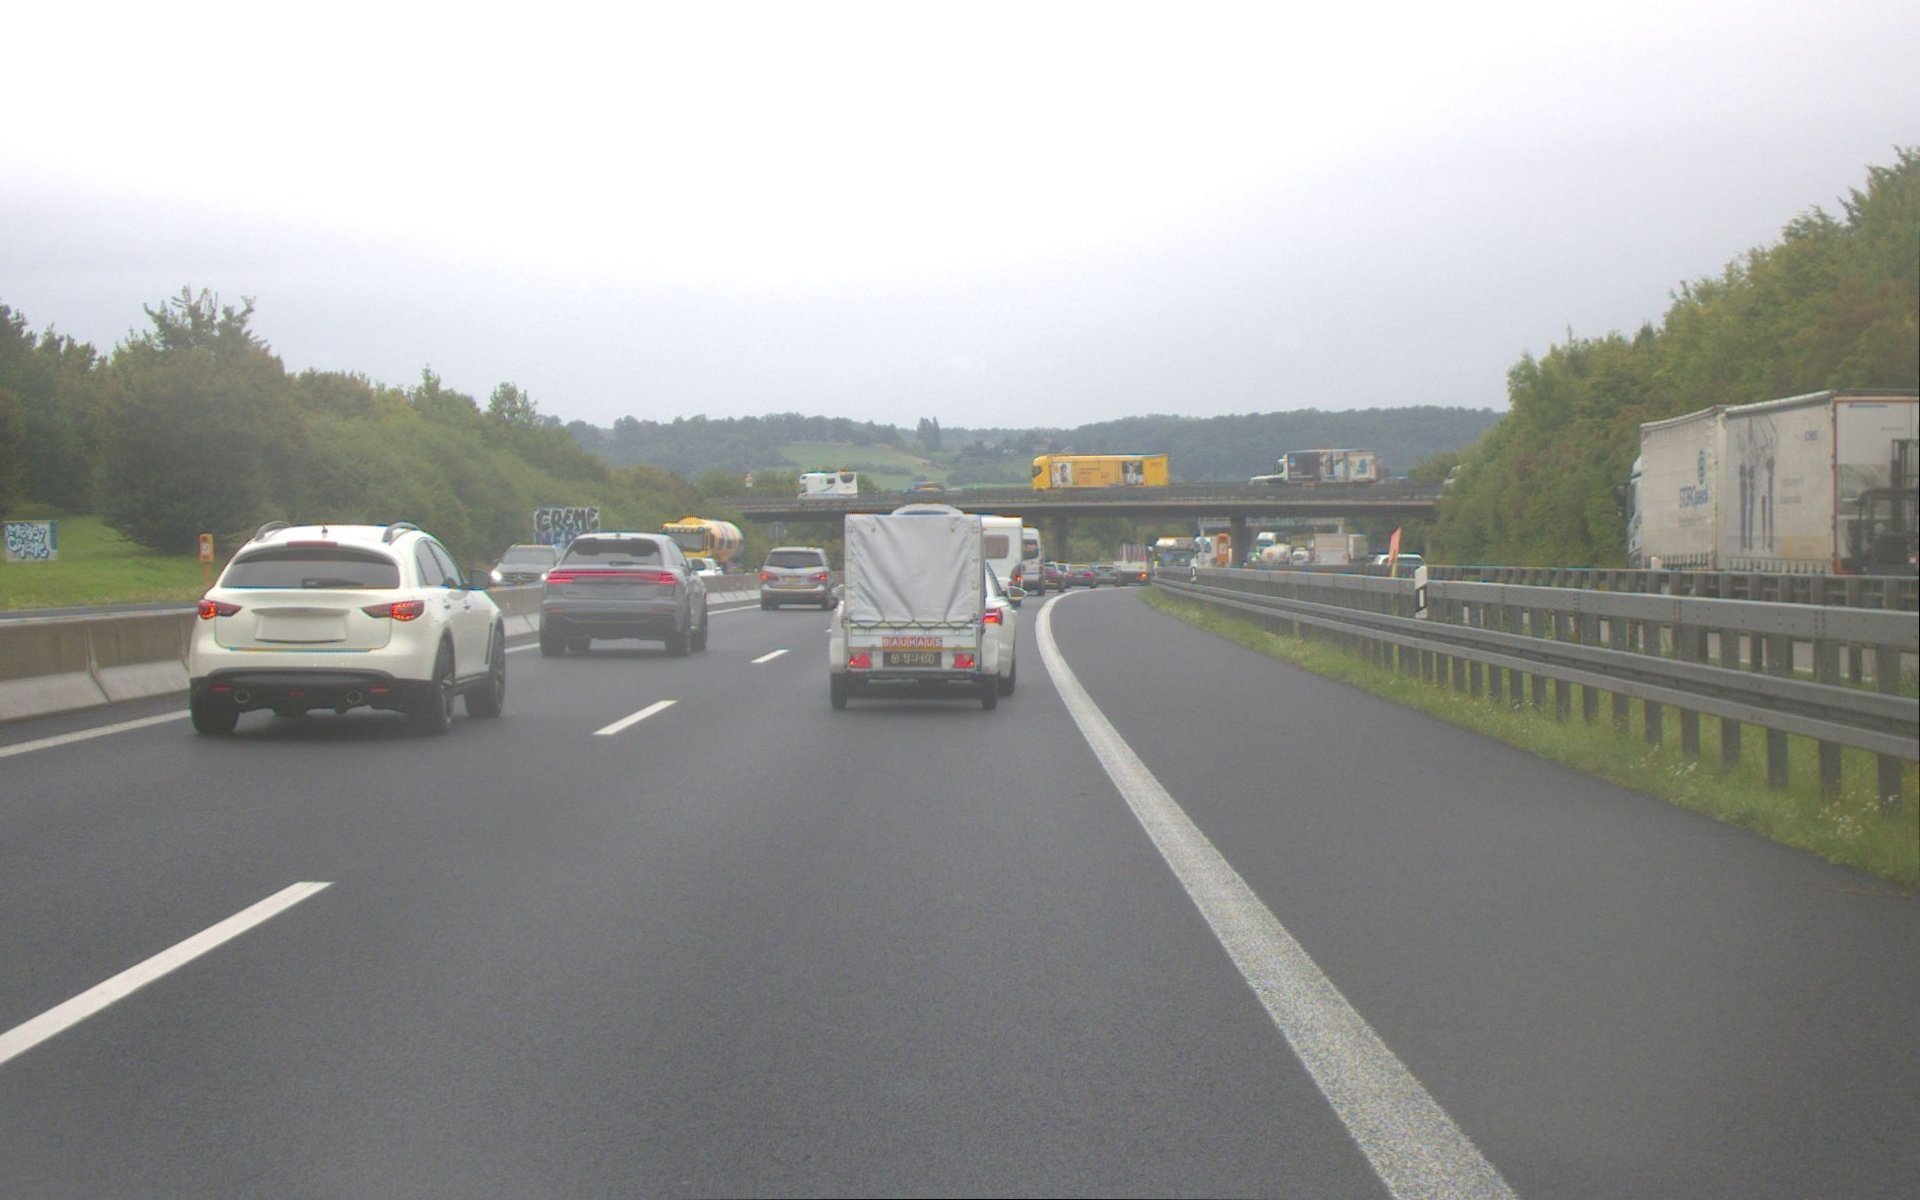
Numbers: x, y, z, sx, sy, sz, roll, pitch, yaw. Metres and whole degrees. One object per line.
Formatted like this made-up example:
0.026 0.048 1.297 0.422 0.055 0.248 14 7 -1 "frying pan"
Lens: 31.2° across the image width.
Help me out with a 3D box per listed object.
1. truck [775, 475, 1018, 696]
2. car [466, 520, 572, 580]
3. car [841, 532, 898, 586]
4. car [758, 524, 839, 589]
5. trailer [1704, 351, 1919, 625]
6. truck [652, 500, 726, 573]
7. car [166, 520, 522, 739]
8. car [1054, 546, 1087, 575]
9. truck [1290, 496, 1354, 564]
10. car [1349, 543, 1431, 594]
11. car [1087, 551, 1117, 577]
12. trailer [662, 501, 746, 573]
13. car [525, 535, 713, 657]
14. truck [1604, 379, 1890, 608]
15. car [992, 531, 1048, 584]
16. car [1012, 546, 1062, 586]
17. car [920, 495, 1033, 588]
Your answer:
-0.507 -0.203 34.337 2.019 1.979 7.212 0 1 2 "truck"
-12.608 -1.449 98.578 2.180 1.690 4.732 0 1 3 "car"
-3.059 -1.408 117.071 1.842 1.813 4.000 0 1 0 "car"
-4.103 -1.122 87.610 1.900 1.607 4.017 0 1 0 "car"
15.576 -1.852 58.946 3.437 4.274 10.454 0 1 0 "trailer"
-12.874 -3.001 163.537 2.762 3.386 5.845 1 1 3 "truck"
-4.882 0.183 27.890 1.976 1.633 4.500 0 1 2 "car"
6.747 -2.415 210.104 1.993 1.744 4.000 1 1 2 "car"
27.443 -5.322 261.358 4.094 5.086 10.463 0 1 2 "truck"
12.438 -0.914 99.615 1.860 1.442 4.158 0 1 0 "car"
9.824 -2.476 238.091 1.994 1.744 4.000 1 1 3 "car"
-12.591 -3.079 169.940 2.762 3.386 11.446 1 1 3 "trailer"
-4.730 -0.090 48.309 2.174 1.626 4.501 0 1 0 "car"
15.658 -2.095 69.368 3.437 4.274 10.418 0 1 0 "truck"
2.364 -1.690 136.711 1.993 2.029 4.152 1 1 -2 "car"
3.463 -1.538 155.622 1.993 1.744 4.000 1 1 -2 "car"
0.534 -1.718 99.694 3.017 2.607 6.074 0 1 3 "car"
